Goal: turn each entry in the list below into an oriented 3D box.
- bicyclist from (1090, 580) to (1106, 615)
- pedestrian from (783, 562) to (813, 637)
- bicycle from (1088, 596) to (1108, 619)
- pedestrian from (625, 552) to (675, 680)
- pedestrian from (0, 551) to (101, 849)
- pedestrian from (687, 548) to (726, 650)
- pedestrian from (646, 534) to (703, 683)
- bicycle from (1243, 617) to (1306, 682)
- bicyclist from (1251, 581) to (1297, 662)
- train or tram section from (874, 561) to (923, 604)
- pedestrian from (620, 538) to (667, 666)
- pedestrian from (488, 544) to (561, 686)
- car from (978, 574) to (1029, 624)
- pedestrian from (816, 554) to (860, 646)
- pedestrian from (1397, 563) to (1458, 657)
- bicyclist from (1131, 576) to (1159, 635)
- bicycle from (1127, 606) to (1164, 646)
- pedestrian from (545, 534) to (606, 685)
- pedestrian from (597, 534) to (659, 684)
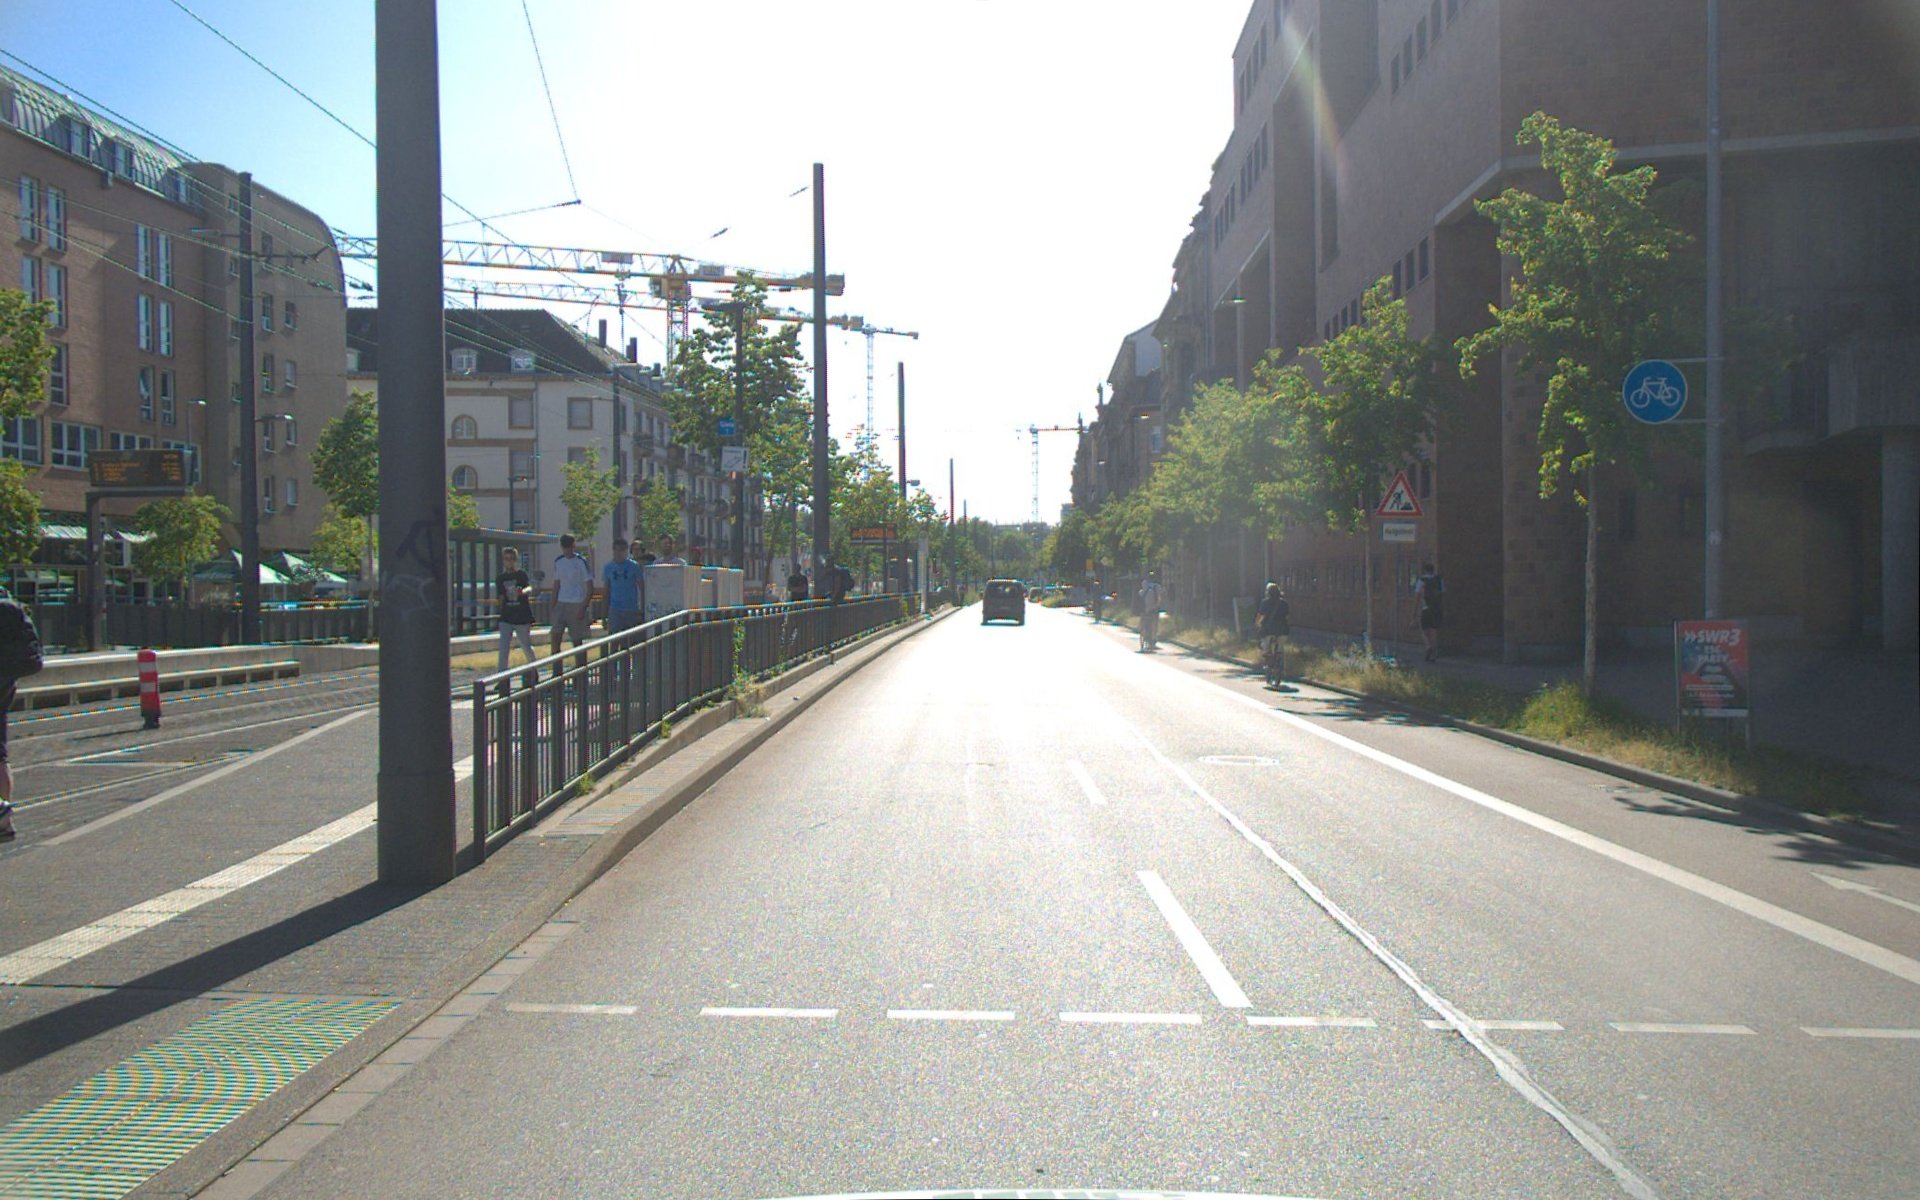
[{"bbox_3d":[6.241,-0.113,74.984,0.653,1.553,0.706,-1,0,-1],"label":"bicyclist"},{"bbox_3d":[-3.677,-0.010,37.524,0.588,1.684,0.666,-1,0,-1],"label":"pedestrian"},{"bbox_3d":[6.241,0.345,75.033,0.653,1.002,2.585,-1,0,-1],"label":"bicycle"},{"bbox_3d":[-3.892,0.192,20.785,0.508,1.578,0.600,-1,0,-3],"label":"pedestrian"},{"bbox_3d":[-5.662,0.589,9.849,0.853,1.698,0.610,-4,1,-30],"label":"pedestrian"},{"bbox_3d":[-4.223,-0.021,27.581,0.527,1.684,0.633,-1,0,-1],"label":"pedestrian"},{"bbox_3d":[-3.311,0.096,19.227,0.527,1.684,0.706,-1,0,-1],"label":"pedestrian"},{"bbox_3d":[5.328,0.816,28.094,0.591,1.002,2.314,-1,0,-1],"label":"bicycle"},{"bbox_3d":[5.320,0.357,28.089,0.580,1.359,0.933,-1,0,-1],"label":"bicyclist"},{"bbox_3d":[-4.522,-1.364,124.092,2.277,3.055,13.167,1,1,4],"label":"train or tram section"},{"bbox_3d":[-4.533,0.026,23.726,0.527,1.804,0.633,-1,0,-1],"label":"pedestrian"},{"bbox_3d":[-5.031,0.170,19.150,0.588,1.594,0.914,-1,0,-1],"label":"pedestrian"},{"bbox_3d":[1.789,-0.070,69.101,1.953,1.982,3.999,-1,0,-1],"label":"car"},{"bbox_3d":[-2.377,-0.009,32.152,0.705,1.765,0.599,-1,0,-18],"label":"pedestrian"},{"bbox_3d":[8.877,0.179,31.454,0.862,1.747,0.931,-1,0,-1],"label":"pedestrian"},{"bbox_3d":[4.921,0.131,44.024,0.653,1.553,0.706,-1,0,-1],"label":"bicyclist"},{"bbox_3d":[4.931,0.674,44.053,0.653,1.002,2.585,-1,0,-1],"label":"bicycle"},{"bbox_3d":[-4.380,0.099,18.887,0.500,1.684,0.761,-1,0,-1],"label":"pedestrian"},{"bbox_3d":[-3.824,0.097,19.093,0.527,1.684,0.896,-1,0,-1],"label":"pedestrian"}]
